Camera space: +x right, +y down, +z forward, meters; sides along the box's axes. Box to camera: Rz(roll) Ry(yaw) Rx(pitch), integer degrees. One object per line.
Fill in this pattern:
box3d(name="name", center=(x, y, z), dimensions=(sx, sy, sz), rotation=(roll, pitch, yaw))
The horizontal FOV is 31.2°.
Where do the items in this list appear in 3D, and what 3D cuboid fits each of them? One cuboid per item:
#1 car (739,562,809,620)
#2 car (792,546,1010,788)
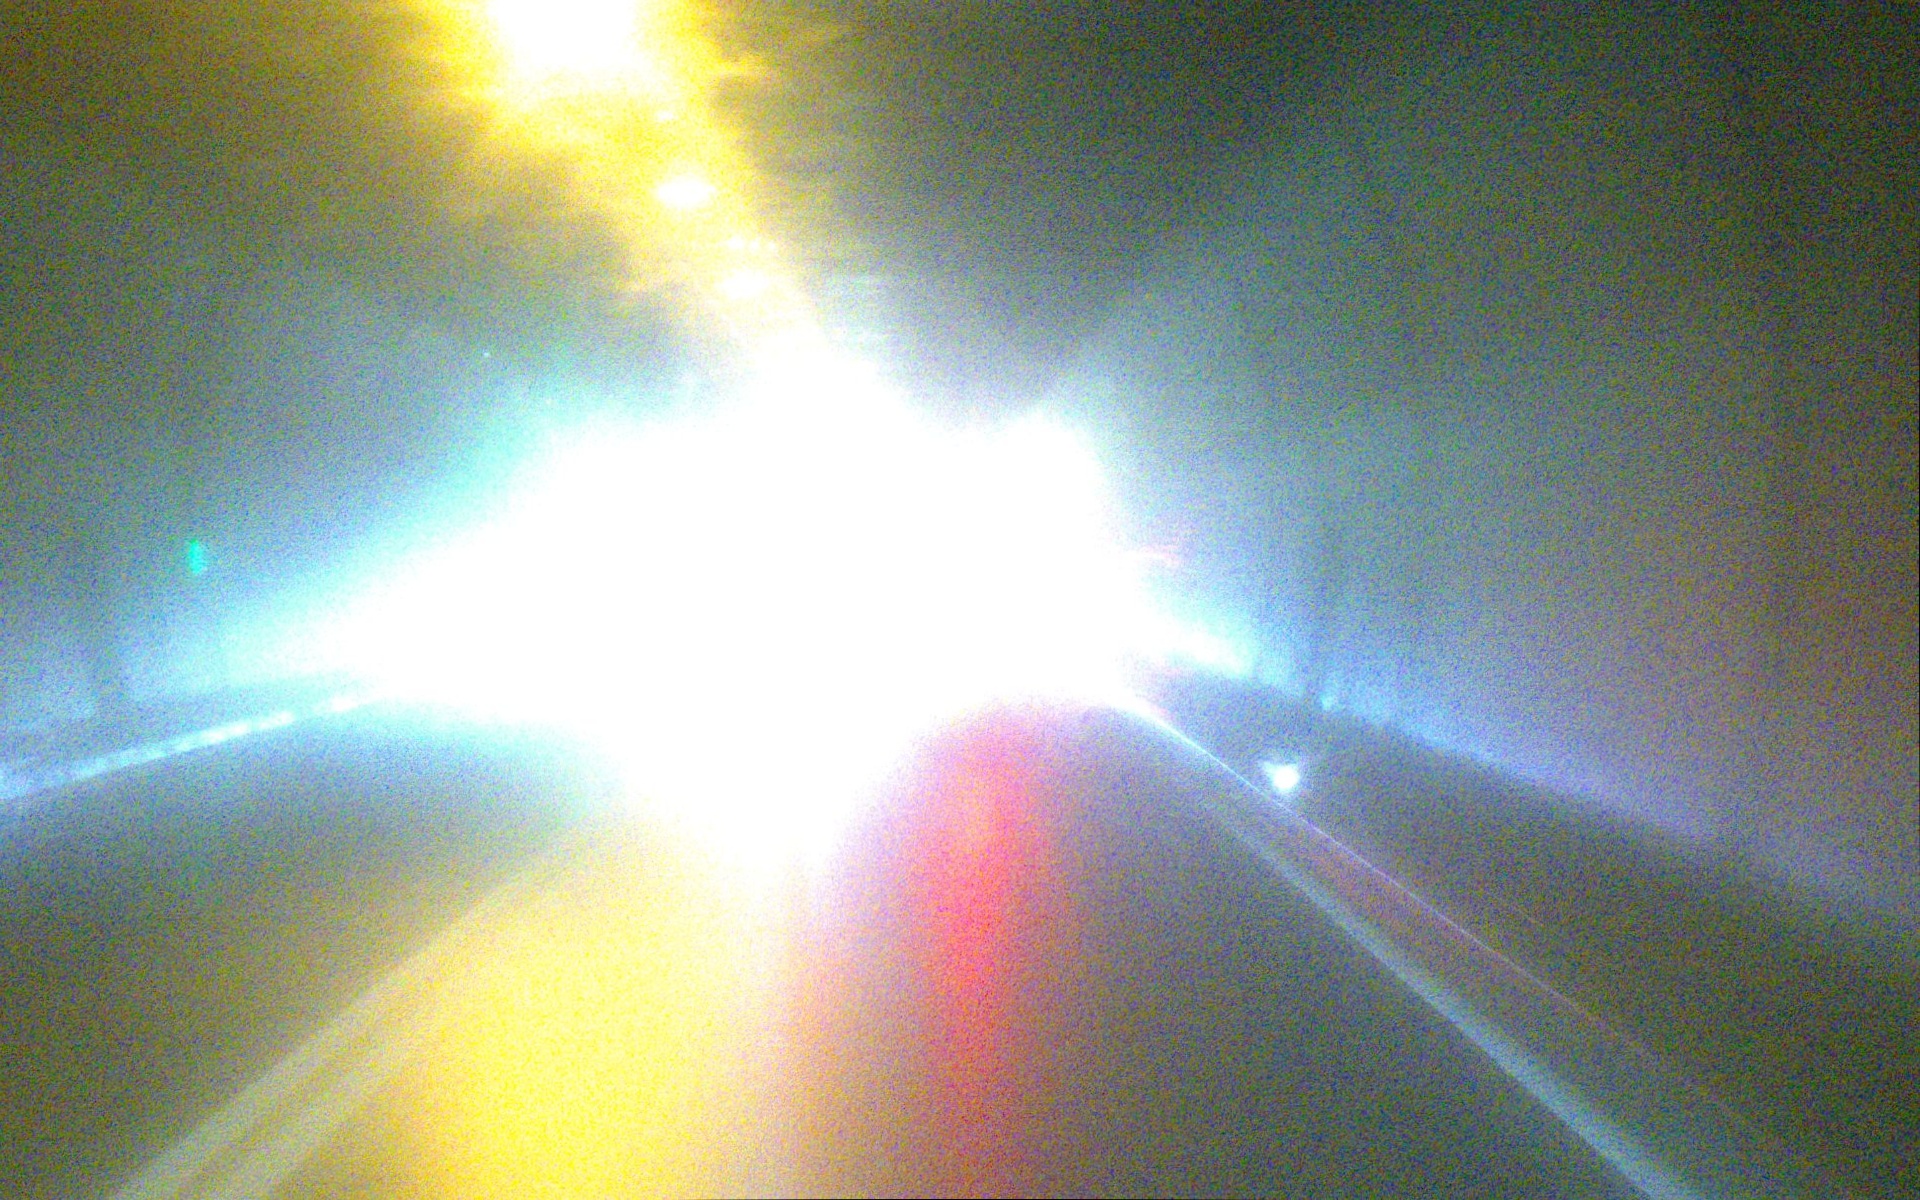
box3d(name="car", center=(-4.950, -0.264, 91.869), dimensions=(1.777, 1.404, 4.295), rotation=(-1, 2, -2))
box3d(name="car", center=(-0.435, 0.480, 28.221), dimensions=(1.635, 1.751, 4.146), rotation=(-1, 2, 0))
